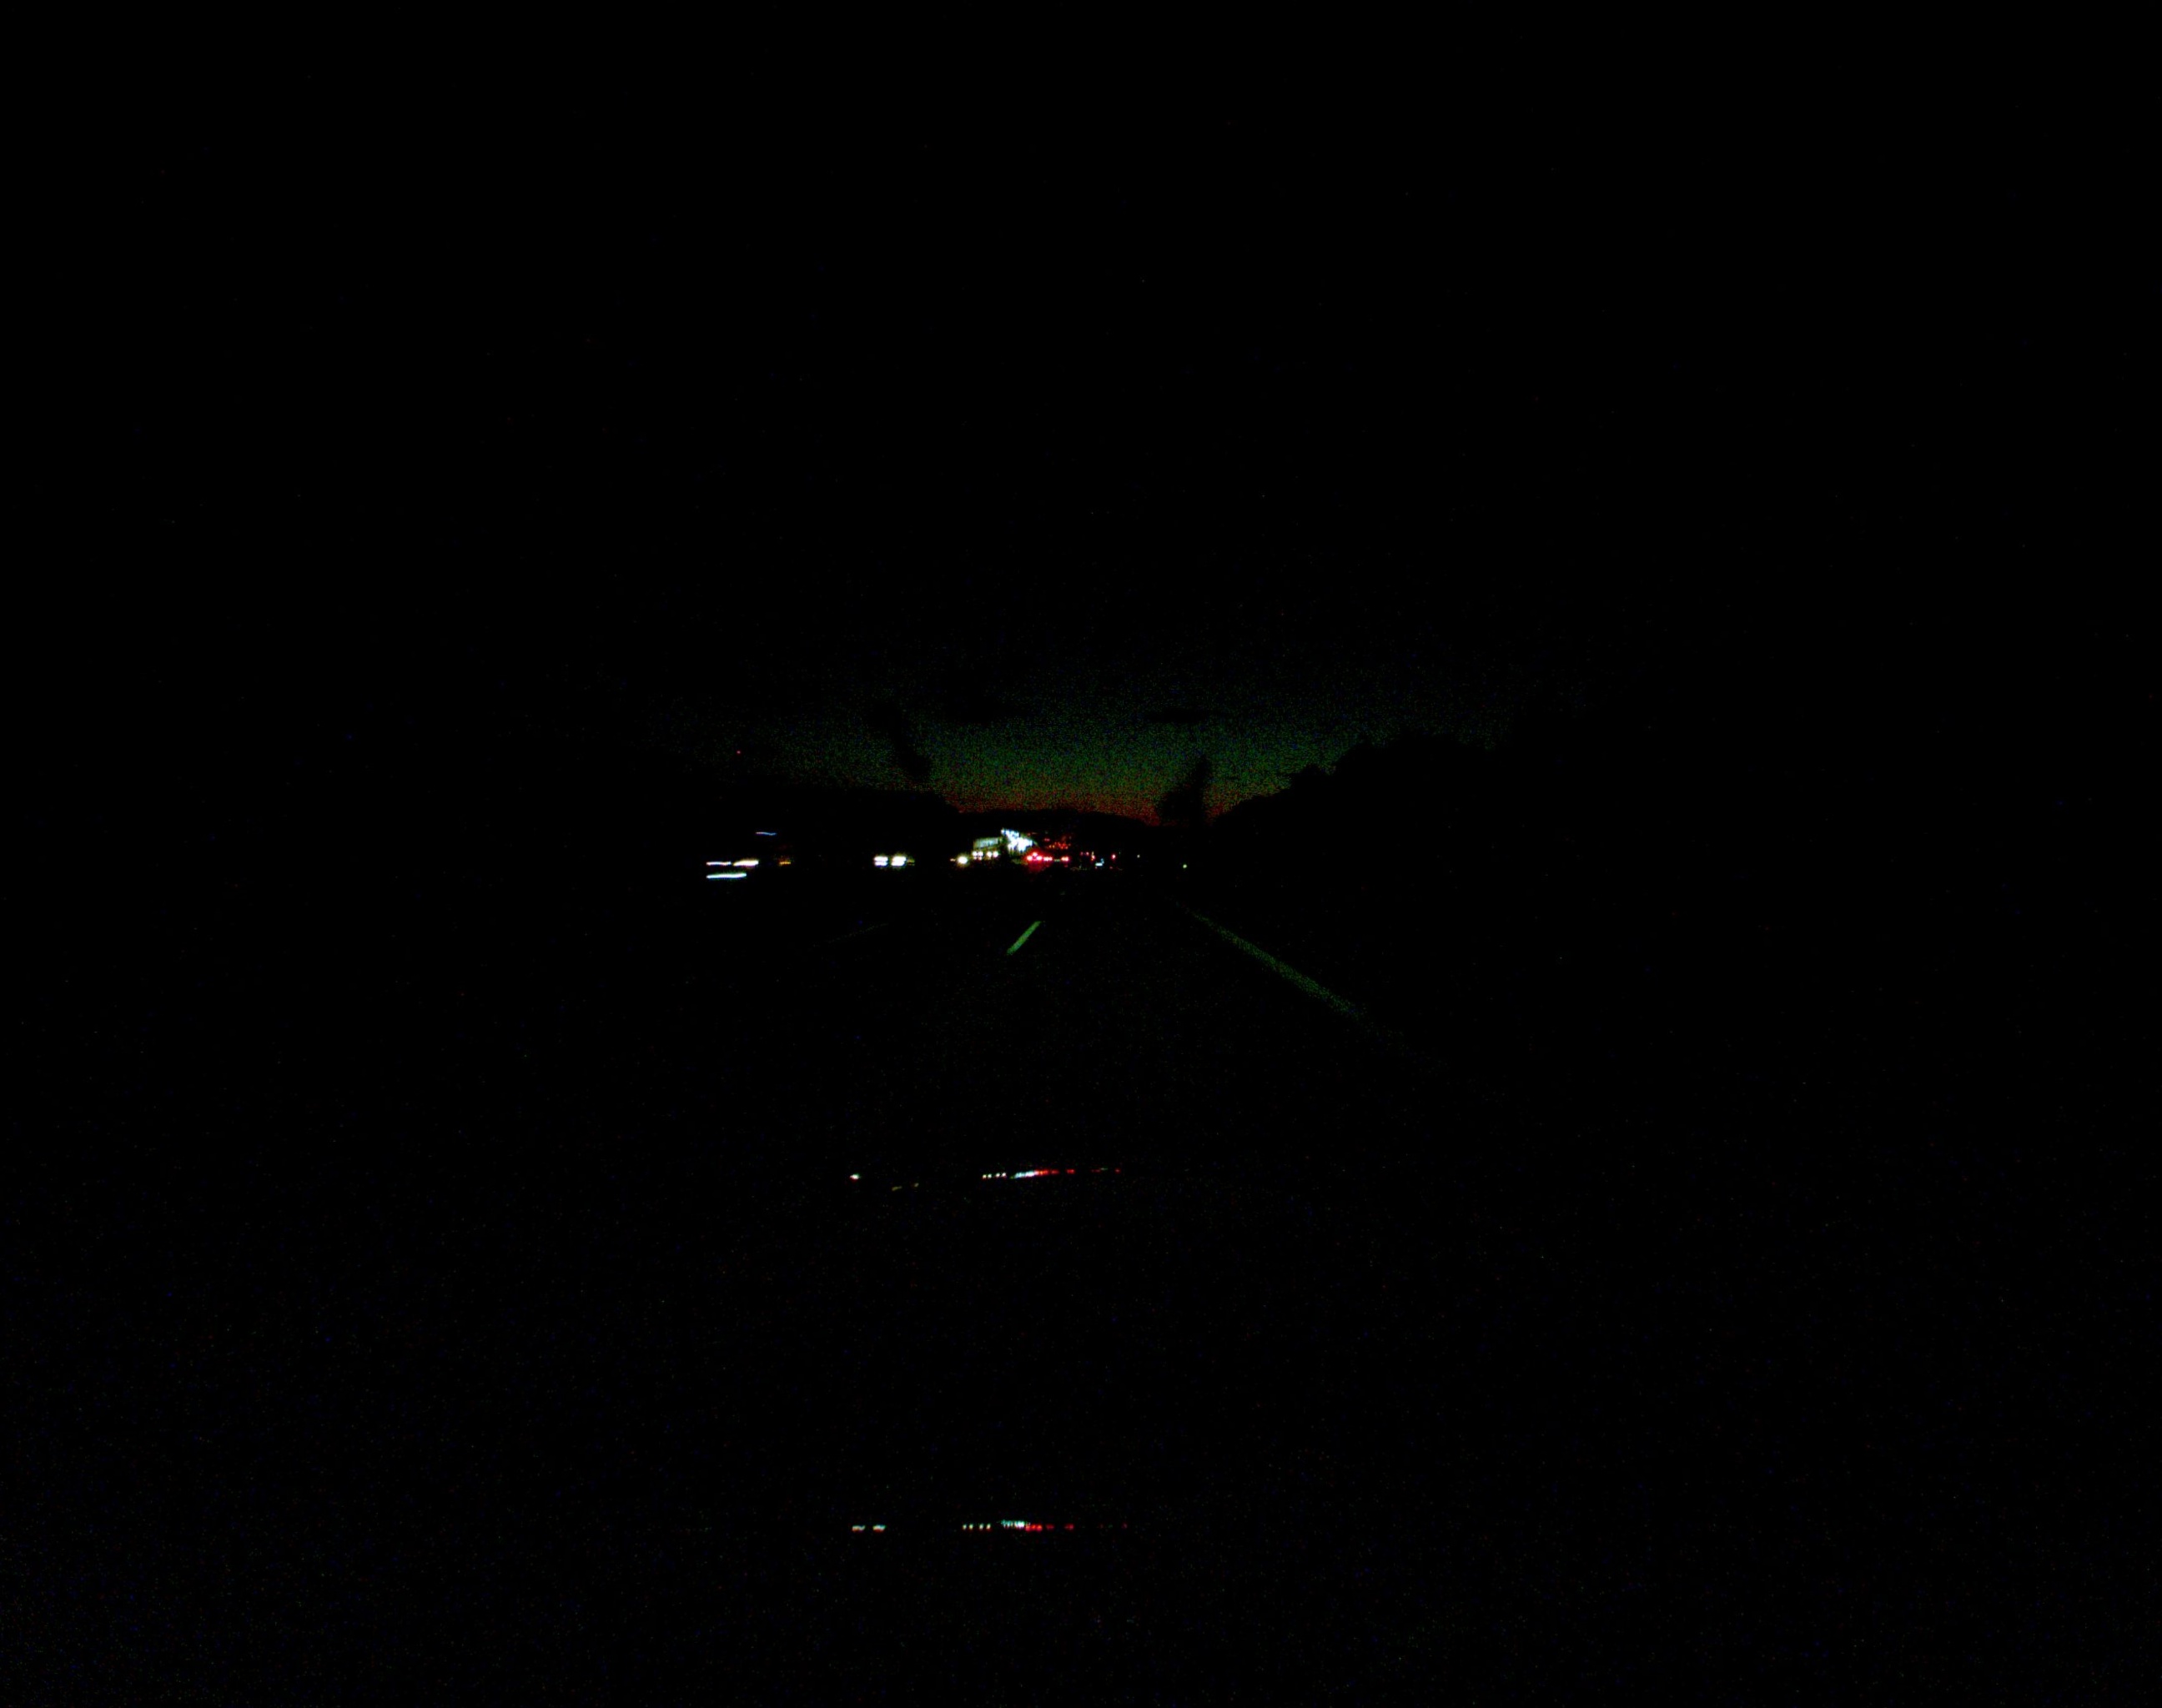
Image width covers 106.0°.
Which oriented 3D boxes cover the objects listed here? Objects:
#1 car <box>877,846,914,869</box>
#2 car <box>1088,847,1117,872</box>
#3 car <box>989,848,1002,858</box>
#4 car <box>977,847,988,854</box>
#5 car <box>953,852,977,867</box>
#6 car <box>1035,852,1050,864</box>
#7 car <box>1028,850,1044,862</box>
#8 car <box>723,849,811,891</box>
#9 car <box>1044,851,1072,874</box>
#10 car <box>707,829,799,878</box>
[{"bbox_3d":[-15.957,0.285,70.324,2.140,1.885,5.418,0,0,-3],"label":"car"},{"bbox_3d":[1.720,0.390,67.453,2.190,1.955,4.762,-1,1,-1],"label":"car"},{"bbox_3d":[-17.090,-0.183,162.942,2.097,1.885,4.660,0,0,1],"label":"car"},{"bbox_3d":[-21.315,-0.767,175.783,1.768,1.429,4.660,0,0,1],"label":"car"},{"bbox_3d":[-13.522,0.611,95.212,1.986,1.734,4.660,0,0,1],"label":"car"},{"bbox_3d":[-5.323,0.557,113.795,1.773,1.486,5.255,1,1,1],"label":"car"},{"bbox_3d":[-5.436,0.249,98.093,1.544,1.431,5.514,-1,0,1],"label":"car"},{"bbox_3d":[-13.841,0.671,36.224,1.986,1.734,4.661,0,0,2],"label":"car"},{"bbox_3d":[-1.819,0.665,66.877,1.987,1.721,5.942,-1,0,1],"label":"car"},{"bbox_3d":[-21.051,-0.017,52.868,2.449,2.936,8.335,0,0,1],"label":"car"}]
